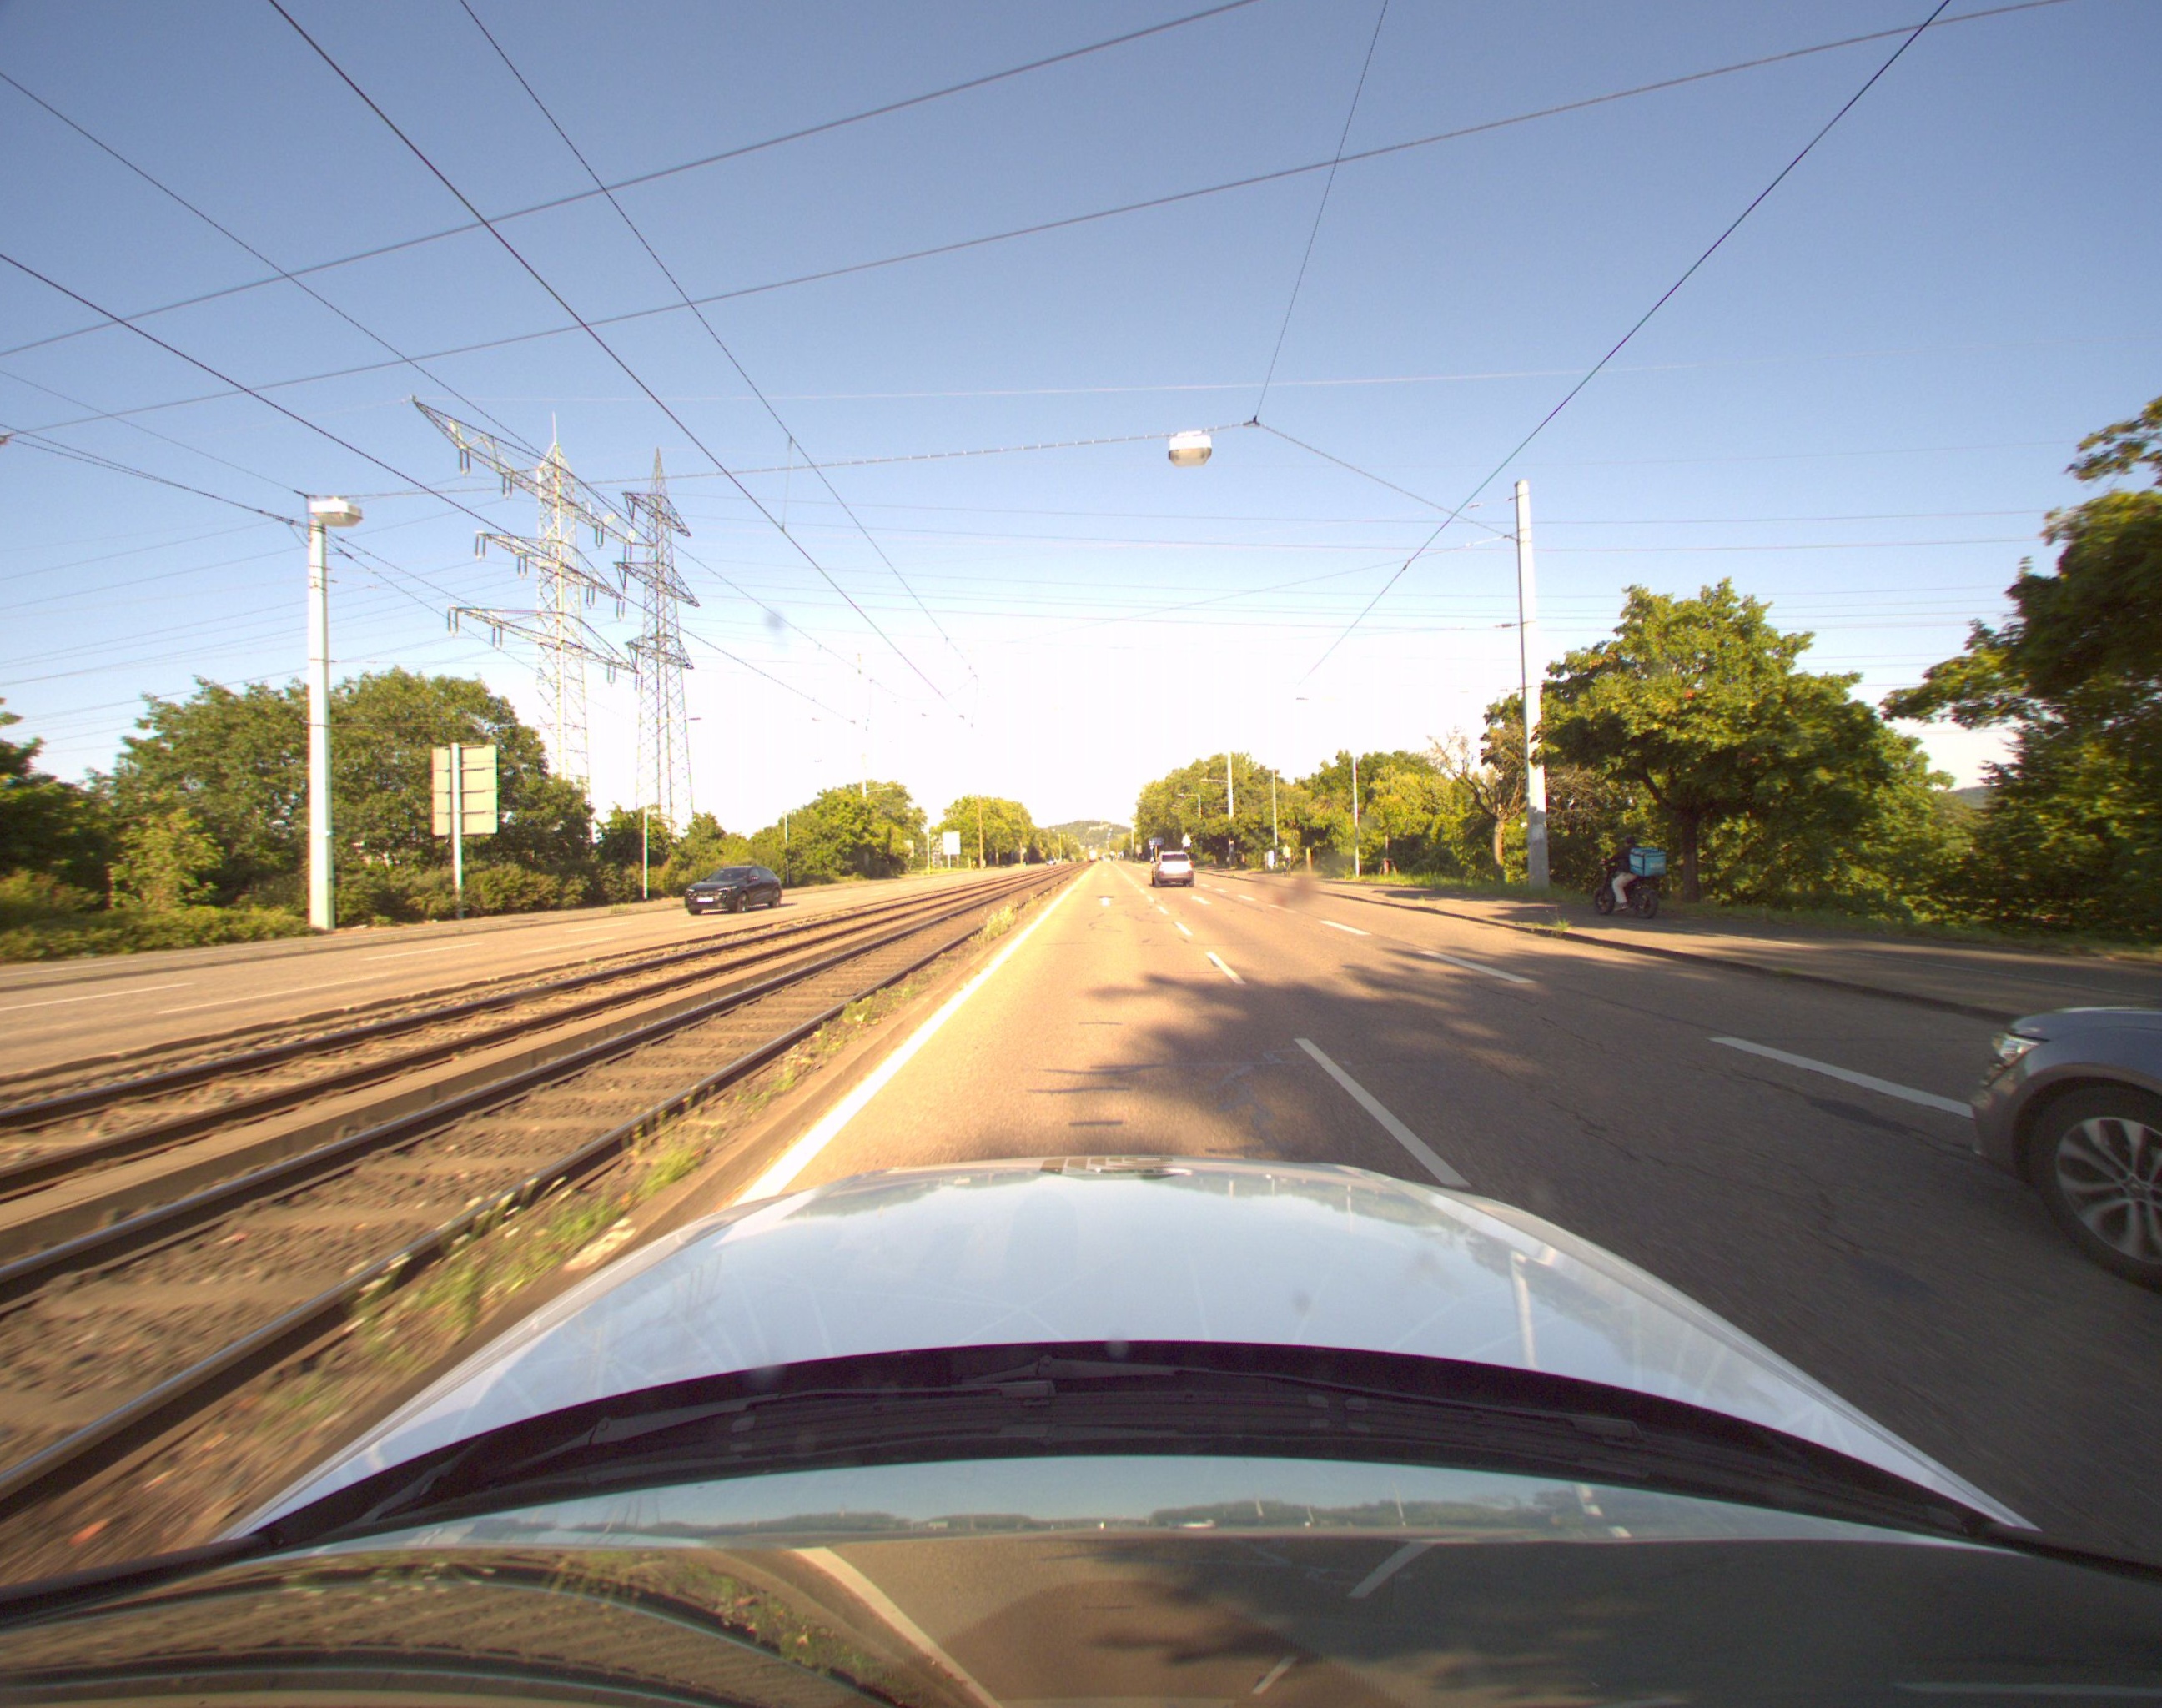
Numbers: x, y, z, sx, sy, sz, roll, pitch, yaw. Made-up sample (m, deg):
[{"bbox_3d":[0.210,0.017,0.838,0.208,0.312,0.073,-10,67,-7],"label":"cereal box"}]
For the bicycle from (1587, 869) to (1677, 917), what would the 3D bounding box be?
[{"bbox_3d":[10.671,0.734,15.832,0.624,0.834,1.635,-5,-1,2],"label":"bicycle"}]

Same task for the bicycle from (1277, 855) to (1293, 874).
[{"bbox_3d":[11.781,0.614,46.979,0.525,1.060,1.973,1,-1,3],"label":"bicycle"}]

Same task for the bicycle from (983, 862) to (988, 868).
[{"bbox_3d":[-16.459,1.943,139.875,0.588,1.022,2.186,-2,-1,1],"label":"bicycle"}]

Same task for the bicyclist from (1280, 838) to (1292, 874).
[{"bbox_3d":[11.775,0.124,46.739,0.525,2.017,0.730,1,-1,3],"label":"bicyclist"}]

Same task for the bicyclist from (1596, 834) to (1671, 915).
[{"bbox_3d":[10.644,0.390,15.721,0.624,1.471,1.061,-5,-1,2],"label":"bicyclist"}]

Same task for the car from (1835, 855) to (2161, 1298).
[{"bbox_3d":[4.376,0.701,1.493,1.868,1.443,4.664,-1,-1,4],"label":"car"}]

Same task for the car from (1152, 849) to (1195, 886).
[{"bbox_3d":[4.482,0.655,39.891,1.880,1.693,4.260,-1,-1,4],"label":"car"}]

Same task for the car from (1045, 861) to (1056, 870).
[{"bbox_3d":[-7.103,2.612,189.898,1.985,1.923,4.864,-2,-1,3],"label":"car"}]

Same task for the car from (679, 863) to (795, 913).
[{"bbox_3d":[-12.334,1.174,29.601,1.985,1.625,4.687,-2,-1,3],"label":"car"}]

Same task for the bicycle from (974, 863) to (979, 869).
[{"bbox_3d":[-17.663,1.959,137.472,0.588,1.022,2.186,-2,-1,1],"label":"bicycle"}]

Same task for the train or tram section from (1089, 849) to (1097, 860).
[{"bbox_3d":[3.665,0.275,253.336,2.302,3.217,9.478,1,-1,2],"label":"train or tram section"}]

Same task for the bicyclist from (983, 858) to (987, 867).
[{"bbox_3d":[-16.465,1.440,139.816,0.588,1.611,0.967,-2,-1,1],"label":"bicyclist"}]

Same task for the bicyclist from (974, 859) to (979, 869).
[{"bbox_3d":[-17.659,1.694,137.627,0.588,1.528,0.906,-2,-1,1],"label":"bicyclist"}]
